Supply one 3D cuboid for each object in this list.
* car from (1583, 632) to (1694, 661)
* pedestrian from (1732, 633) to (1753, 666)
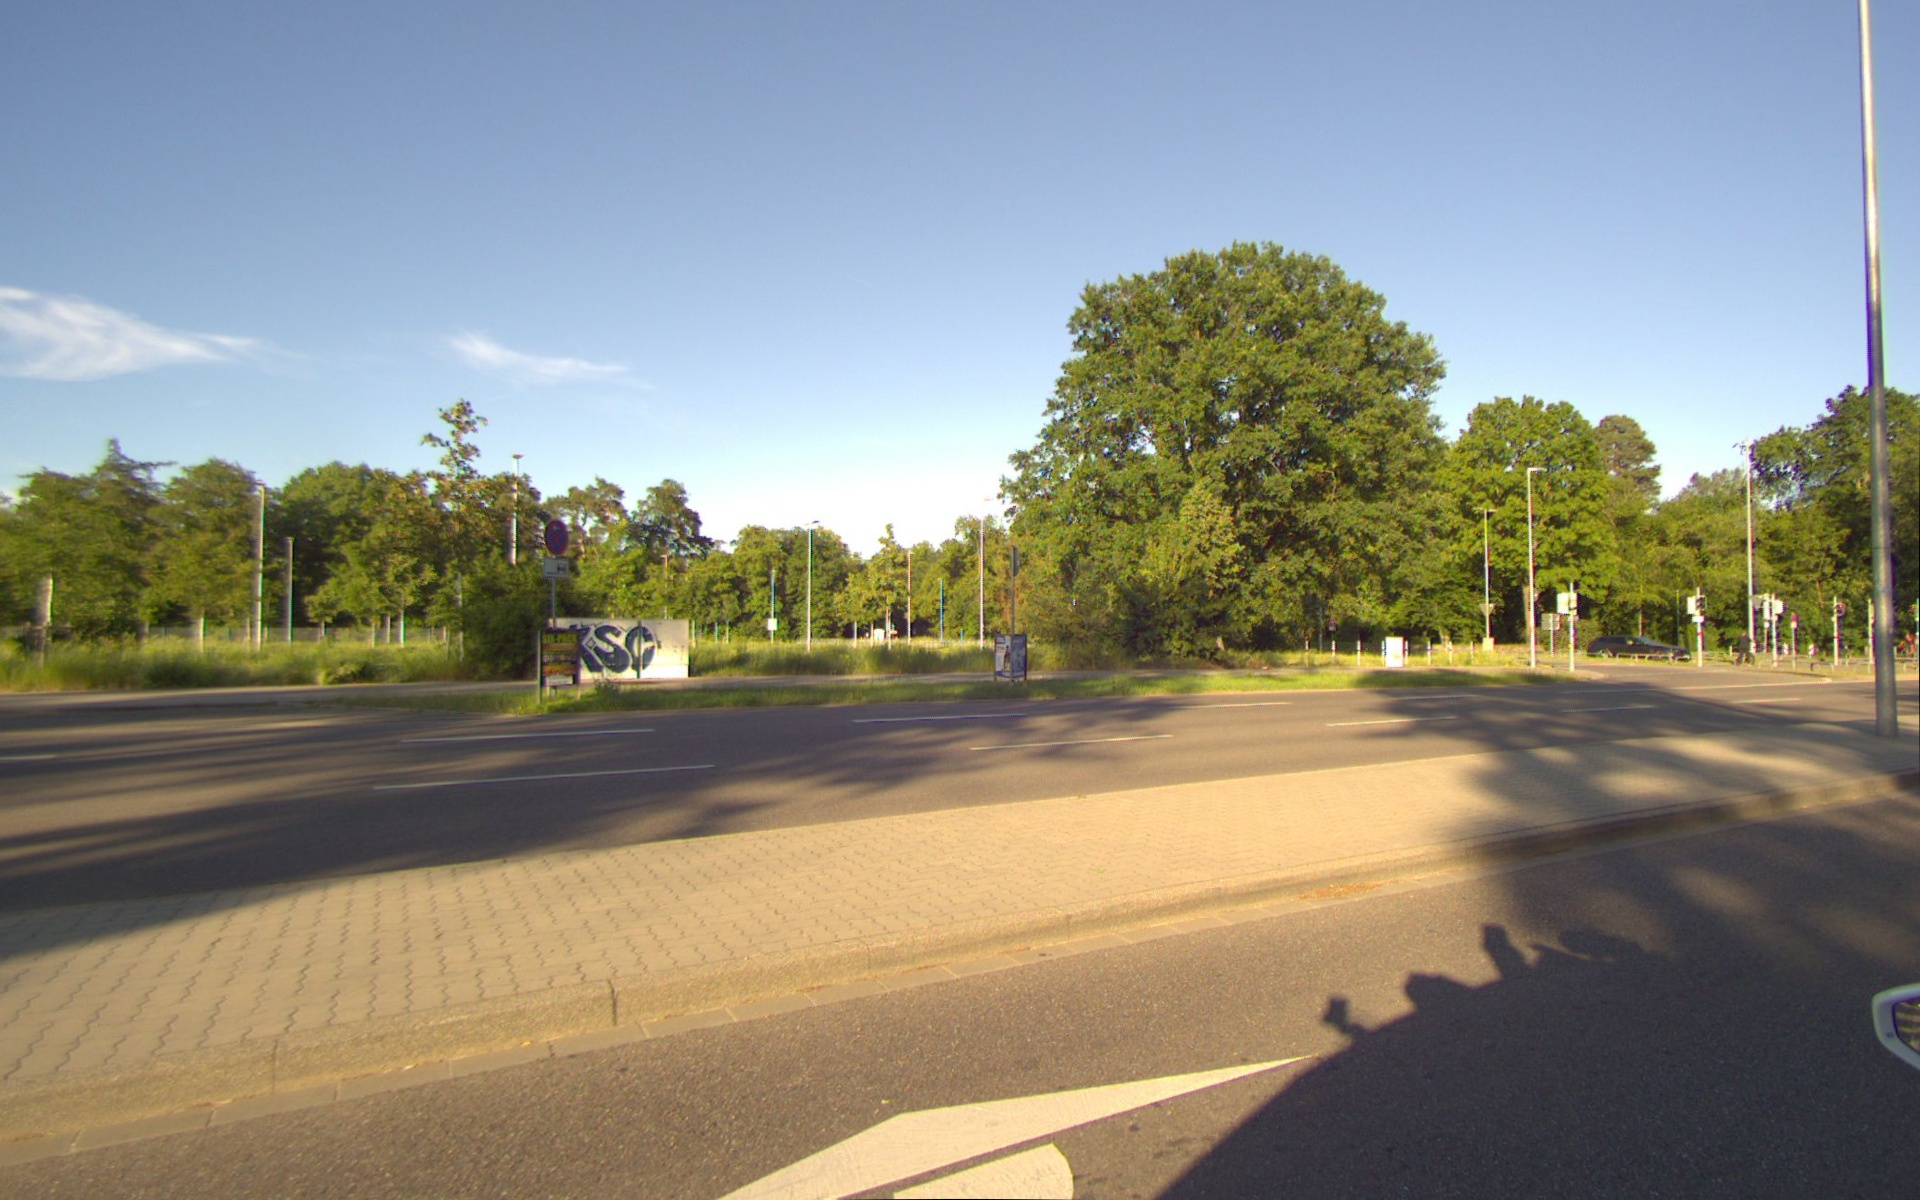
[{"bbox_3d":[38.010,2.614,56.394,1.977,1.517,4.751,1,-3,-30],"label":"car"},{"bbox_3d":[38.139,2.402,48.966,0.636,1.580,0.539,-1,-2,19],"label":"pedestrian"}]
